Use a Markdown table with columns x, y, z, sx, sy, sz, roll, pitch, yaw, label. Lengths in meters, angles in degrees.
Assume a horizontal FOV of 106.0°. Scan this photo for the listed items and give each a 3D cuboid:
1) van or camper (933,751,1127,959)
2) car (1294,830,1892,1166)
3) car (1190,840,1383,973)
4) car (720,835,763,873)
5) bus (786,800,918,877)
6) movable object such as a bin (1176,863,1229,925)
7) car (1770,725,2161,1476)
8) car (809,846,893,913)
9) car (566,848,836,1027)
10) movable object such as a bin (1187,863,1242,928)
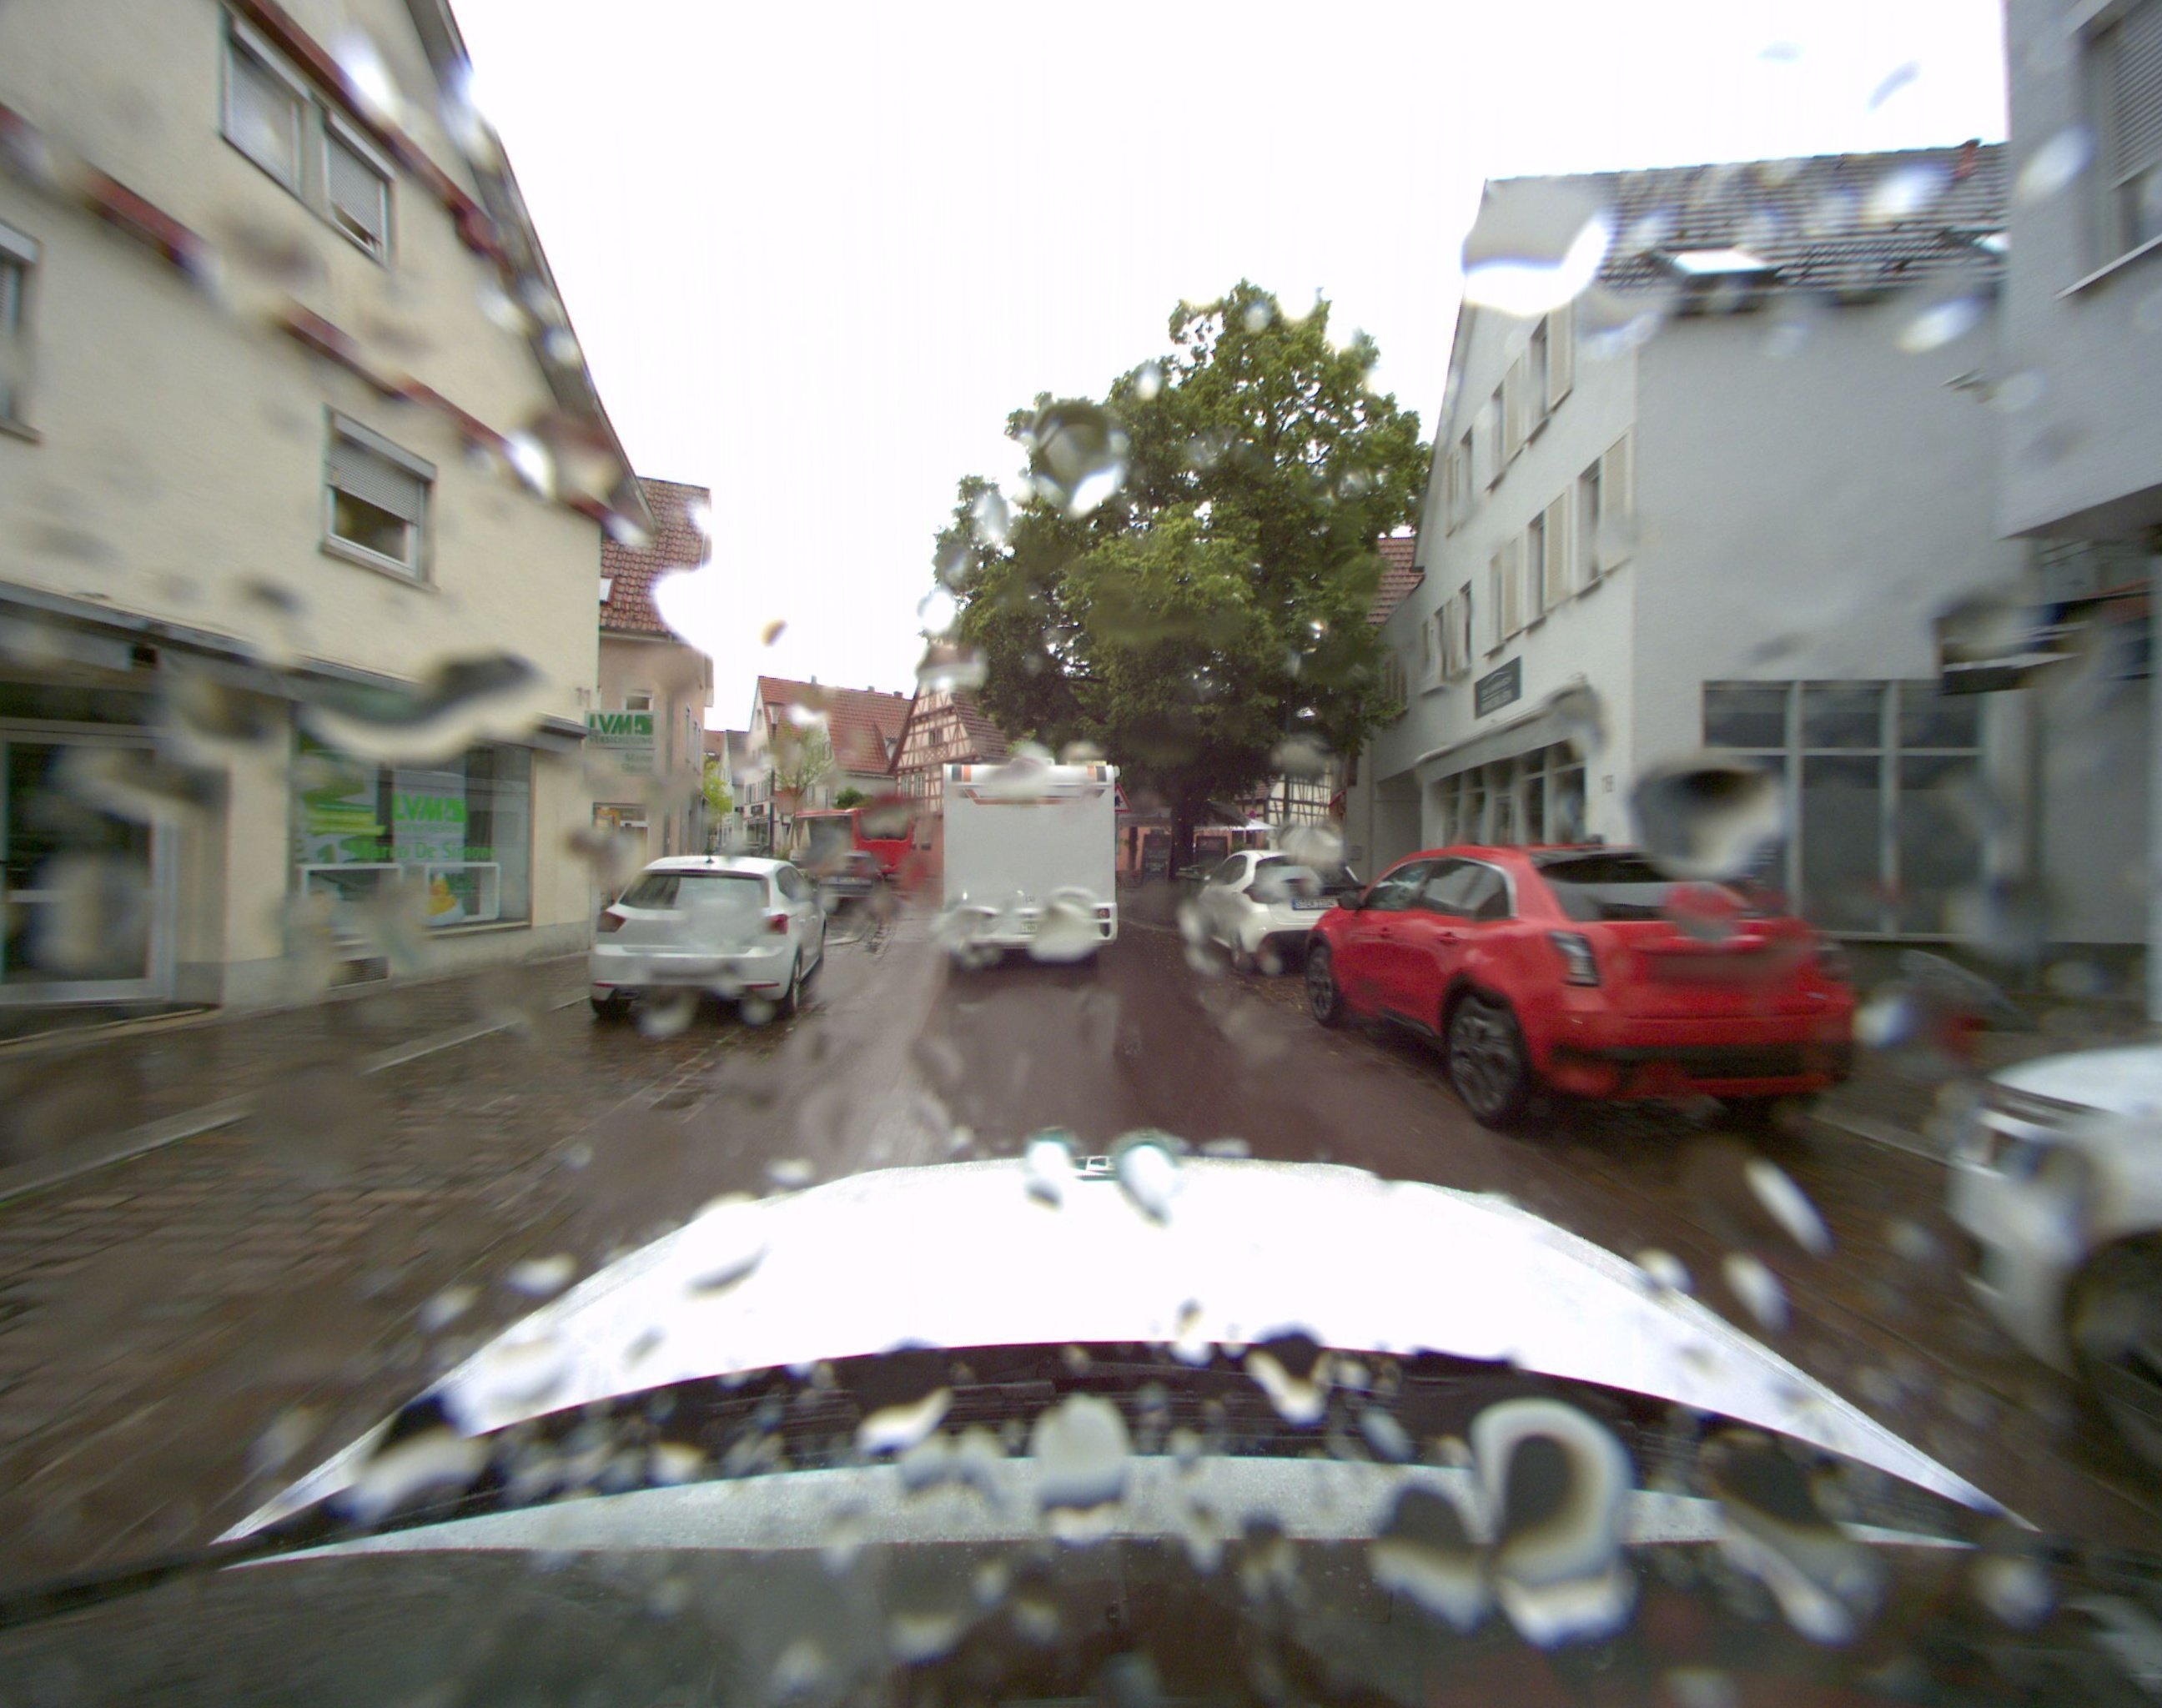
| x | y | z | sx | sy | sz | roll | pitch | yaw | label |
| --- | --- | --- | --- | --- | --- | --- | --- | --- | --- |
| -1.090 | 0.008 | 13.627 | 2.436 | 2.585 | 6.732 | 0 | 0 | -8 | van or camper |
| 2.903 | 0.647 | 5.690 | 1.673 | 1.529 | 3.795 | -1 | 0 | -3 | car |
| 2.662 | 0.589 | 11.419 | 1.672 | 1.528 | 3.797 | -1 | 1 | -1 | car |
| -15.864 | 0.016 | 38.169 | 1.705 | 1.675 | 3.864 | 1 | -1 | -21 | car |
| -10.878 | -0.605 | 37.630 | 2.832 | 3.089 | 10.498 | 1 | -1 | -33 | bus |
| 2.251 | 0.734 | 15.095 | 0.832 | 1.112 | 0.587 | 1 | -1 | -8 | movable object such as a bin |
| 3.333 | 0.544 | 0.540 | 1.773 | 1.630 | 4.462 | -1 | 1 | -5 | car |
| -5.610 | 0.543 | 19.609 | 1.726 | 1.414 | 3.956 | 1 | 1 | -18 | car |
| -3.689 | 0.686 | 8.661 | 1.723 | 1.414 | 3.964 | 2 | 0 | -13 | car |
| 2.368 | 0.731 | 14.517 | 0.832 | 1.112 | 0.559 | 1 | -1 | -8 | movable object such as a bin |
